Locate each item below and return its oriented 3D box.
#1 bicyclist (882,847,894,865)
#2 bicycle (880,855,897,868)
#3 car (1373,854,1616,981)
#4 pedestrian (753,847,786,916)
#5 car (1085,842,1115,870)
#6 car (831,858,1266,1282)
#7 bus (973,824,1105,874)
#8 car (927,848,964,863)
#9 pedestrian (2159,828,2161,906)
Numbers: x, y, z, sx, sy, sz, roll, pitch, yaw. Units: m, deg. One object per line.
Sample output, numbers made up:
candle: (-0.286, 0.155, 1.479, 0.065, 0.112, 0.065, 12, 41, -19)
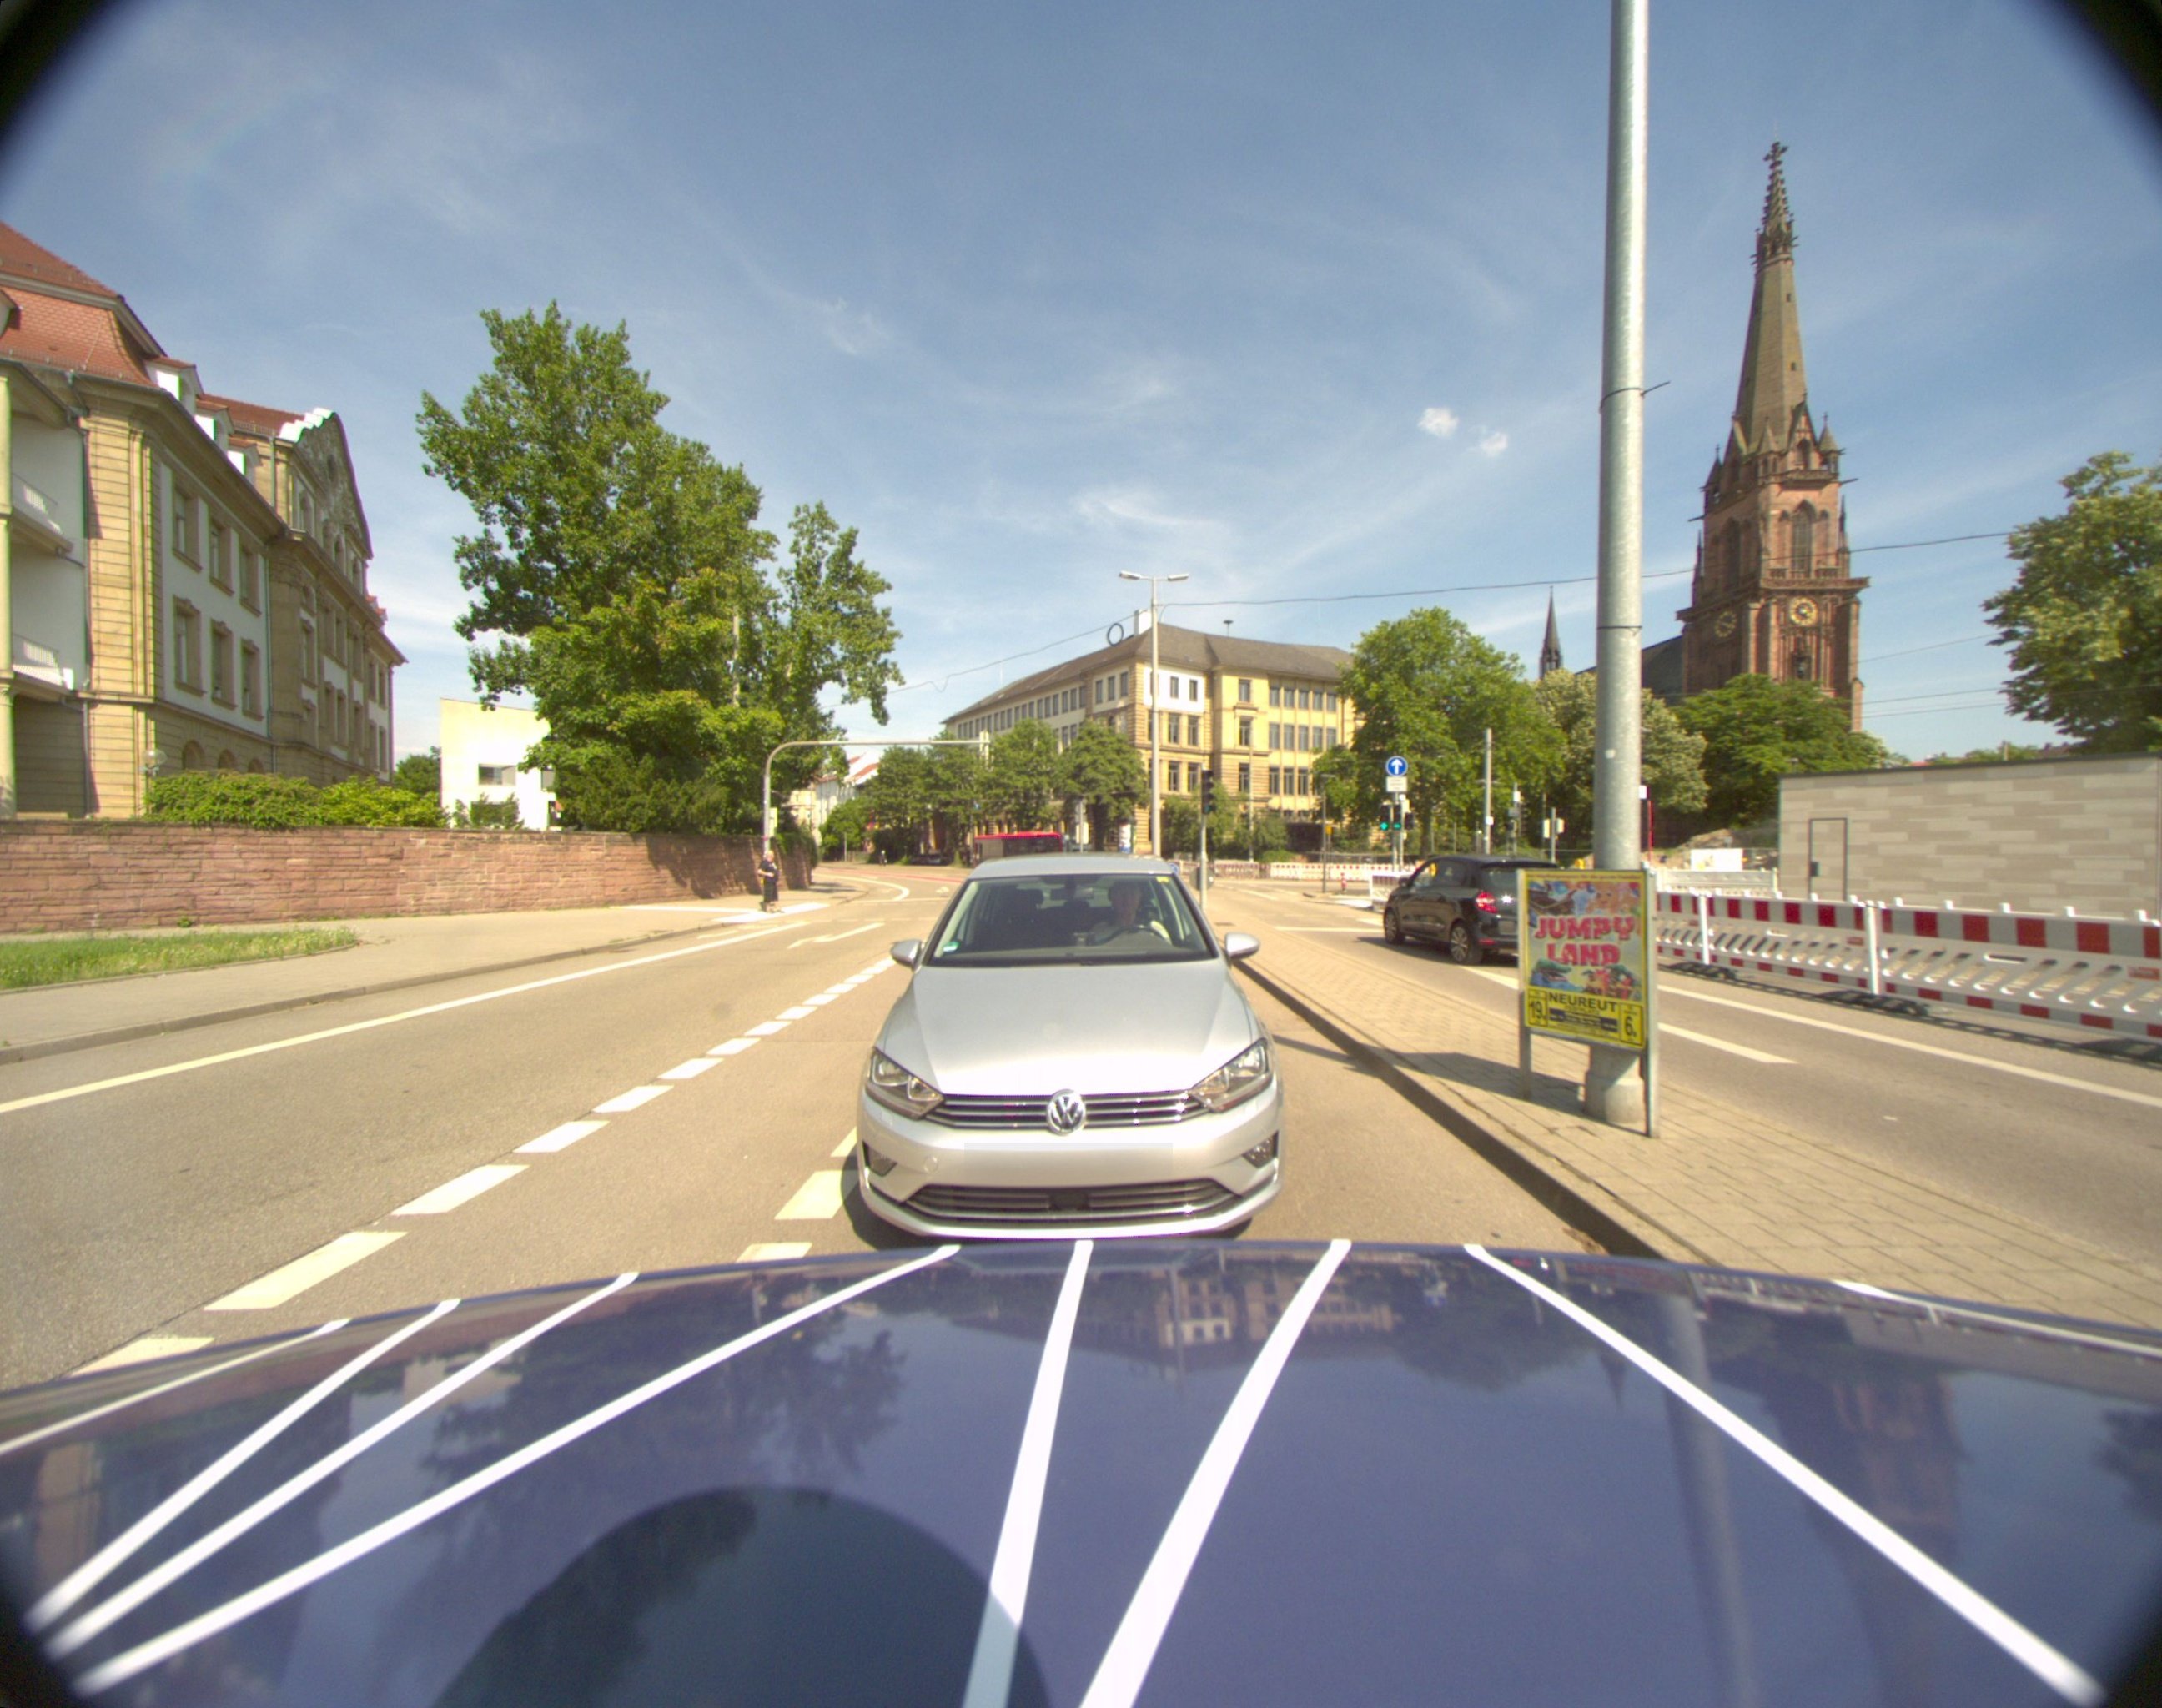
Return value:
bicyclist: (-22.659, 0.243, 89.150, 0.860, 2.002, 1.233, -3, 1, -32)
bicycle: (-22.590, 0.881, 89.096, 0.832, 1.394, 3.461, -3, 1, -32)
car: (5.942, 0.804, 11.455, 1.665, 1.565, 3.632, 1, 0, 0)
pedestrian: (-9.185, 0.783, 22.415, 0.796, 2.002, 0.615, 0, 1, -14)
car: (1.378, 0.117, 56.193, 1.999, 2.002, 3.999, 0, 0, -1)
car: (-0.036, 0.845, 5.033, 1.687, 1.577, 4.152, 0, 0, 3)
bus: (-3.271, -0.264, 52.766, 3.138, 3.076, 12.382, -3, 1, -34)
car: (-16.679, 0.137, 93.613, 4.006, 1.653, 1.994, -3, 4, -35)
pedestrian: (28.158, 0.347, 19.191, 0.820, 2.002, 0.686, 1, 1, 3)
